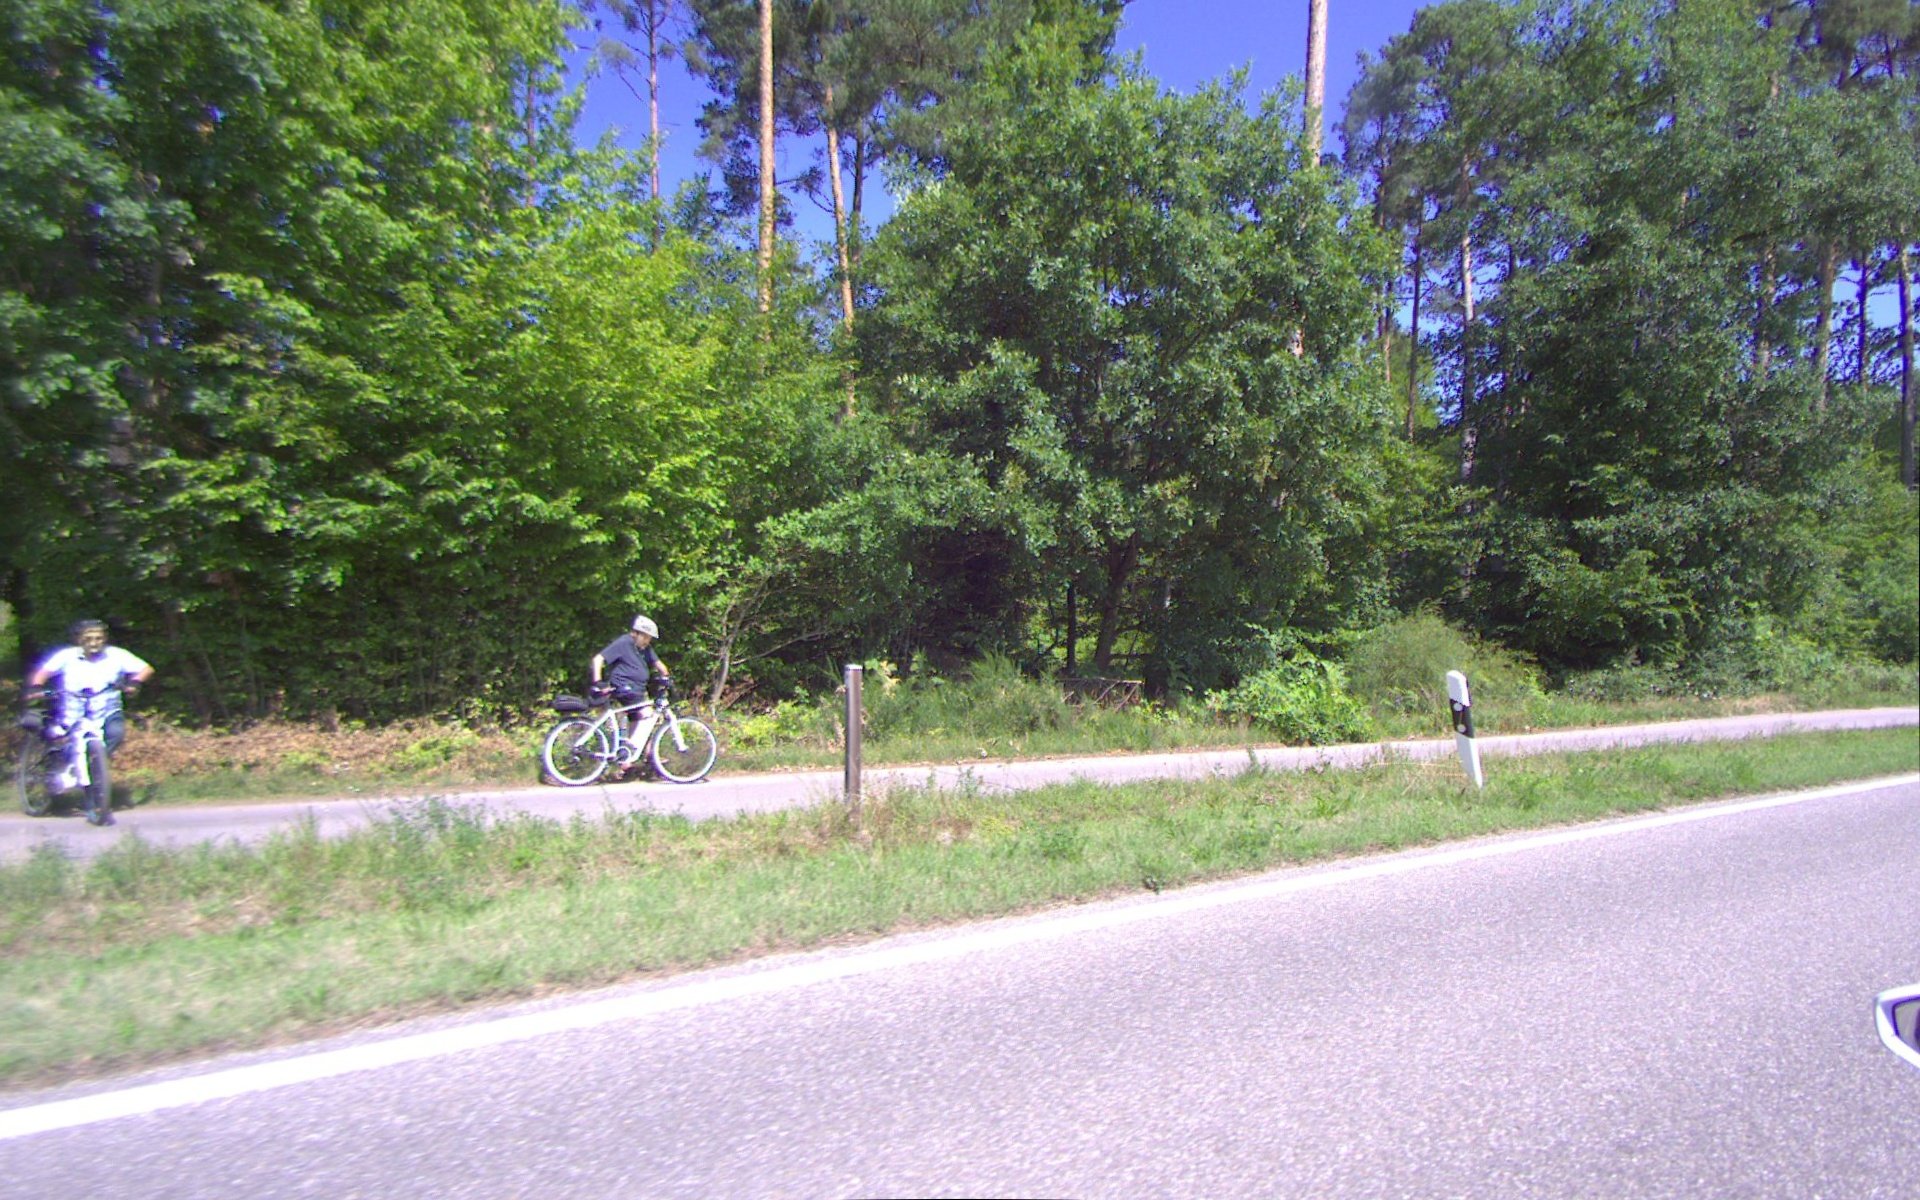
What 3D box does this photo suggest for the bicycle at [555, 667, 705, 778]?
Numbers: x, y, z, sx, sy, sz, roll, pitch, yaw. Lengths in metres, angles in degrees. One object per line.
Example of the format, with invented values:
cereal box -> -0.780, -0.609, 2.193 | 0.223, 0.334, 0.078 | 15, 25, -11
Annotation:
bicycle -> -3.517, 1.302, 10.790 | 1.419, 1.101, 0.582 | 0, 1, -3

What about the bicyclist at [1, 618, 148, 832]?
bicyclist -> -7.689, 1.043, 8.734 | 0.774, 1.741, 0.606 | 2, 0, 19

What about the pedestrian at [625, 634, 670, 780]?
pedestrian -> -3.403, 1.150, 10.950 | 0.387, 1.558, 0.282 | 1, -2, -37

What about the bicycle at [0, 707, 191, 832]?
bicycle -> -7.682, 1.432, 8.716 | 1.946, 0.840, 0.606 | 2, 0, 19
